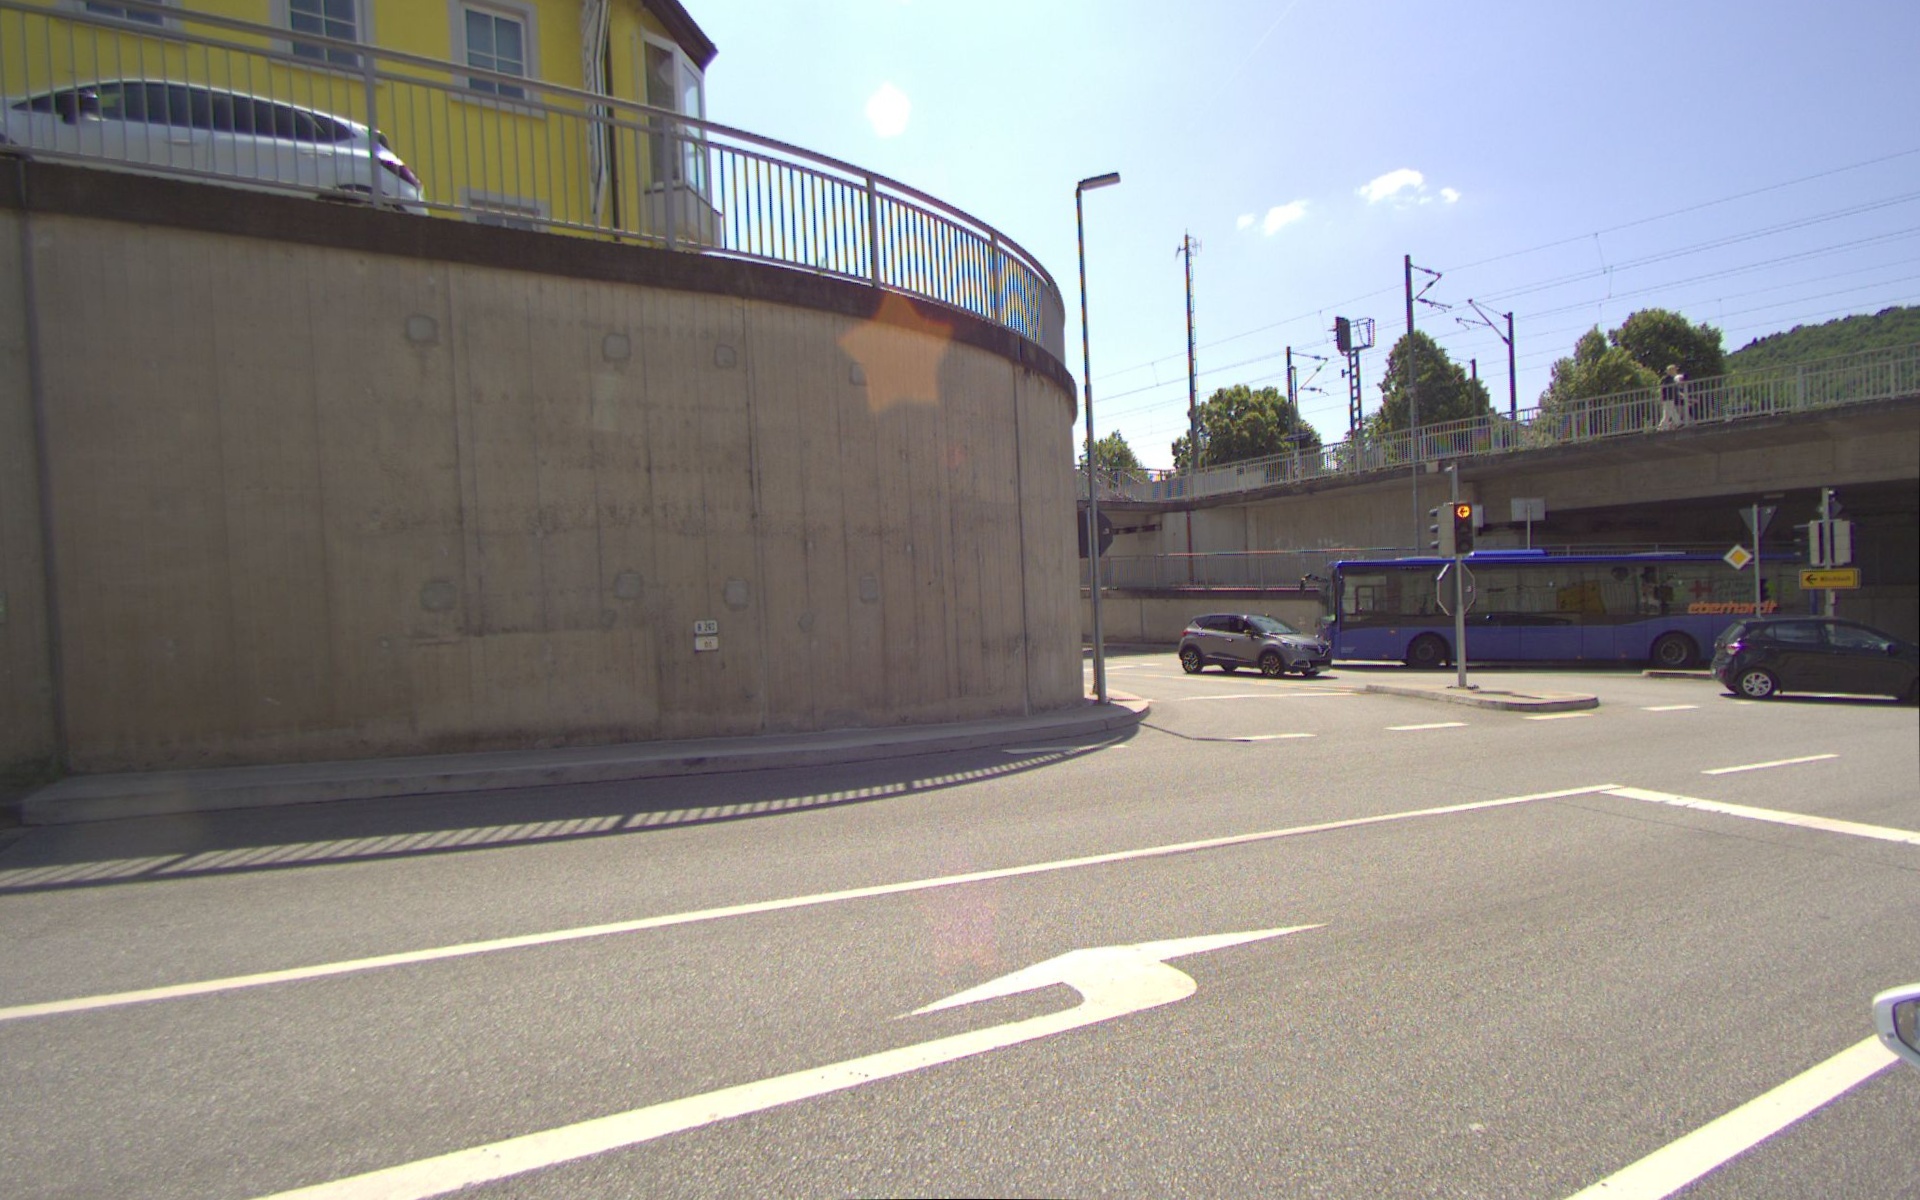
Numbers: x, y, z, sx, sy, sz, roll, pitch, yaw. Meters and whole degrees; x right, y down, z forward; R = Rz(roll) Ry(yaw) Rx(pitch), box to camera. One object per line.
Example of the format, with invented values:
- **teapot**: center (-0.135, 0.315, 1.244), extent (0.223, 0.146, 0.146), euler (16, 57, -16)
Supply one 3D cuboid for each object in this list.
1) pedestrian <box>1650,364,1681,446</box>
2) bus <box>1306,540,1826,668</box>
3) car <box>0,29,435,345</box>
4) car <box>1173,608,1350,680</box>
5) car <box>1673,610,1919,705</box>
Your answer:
- **pedestrian**: center (19.350, -5.329, 27.544), extent (0.531, 2.109, 0.571), euler (1, -1, -40)
- **bus**: center (16.134, 0.162, 27.780), extent (12.125, 3.215, 2.590), euler (-1, 1, 11)
- **car**: center (-7.071, -3.591, 9.107), extent (3.955, 1.690, 1.892), euler (-1, 1, -32)
- **car**: center (7.656, 1.056, 25.790), extent (1.981, 1.610, 3.959), euler (-2, 1, -36)
- **car**: center (15.298, 0.964, 18.008), extent (3.929, 1.528, 1.996), euler (0, 1, 30)
